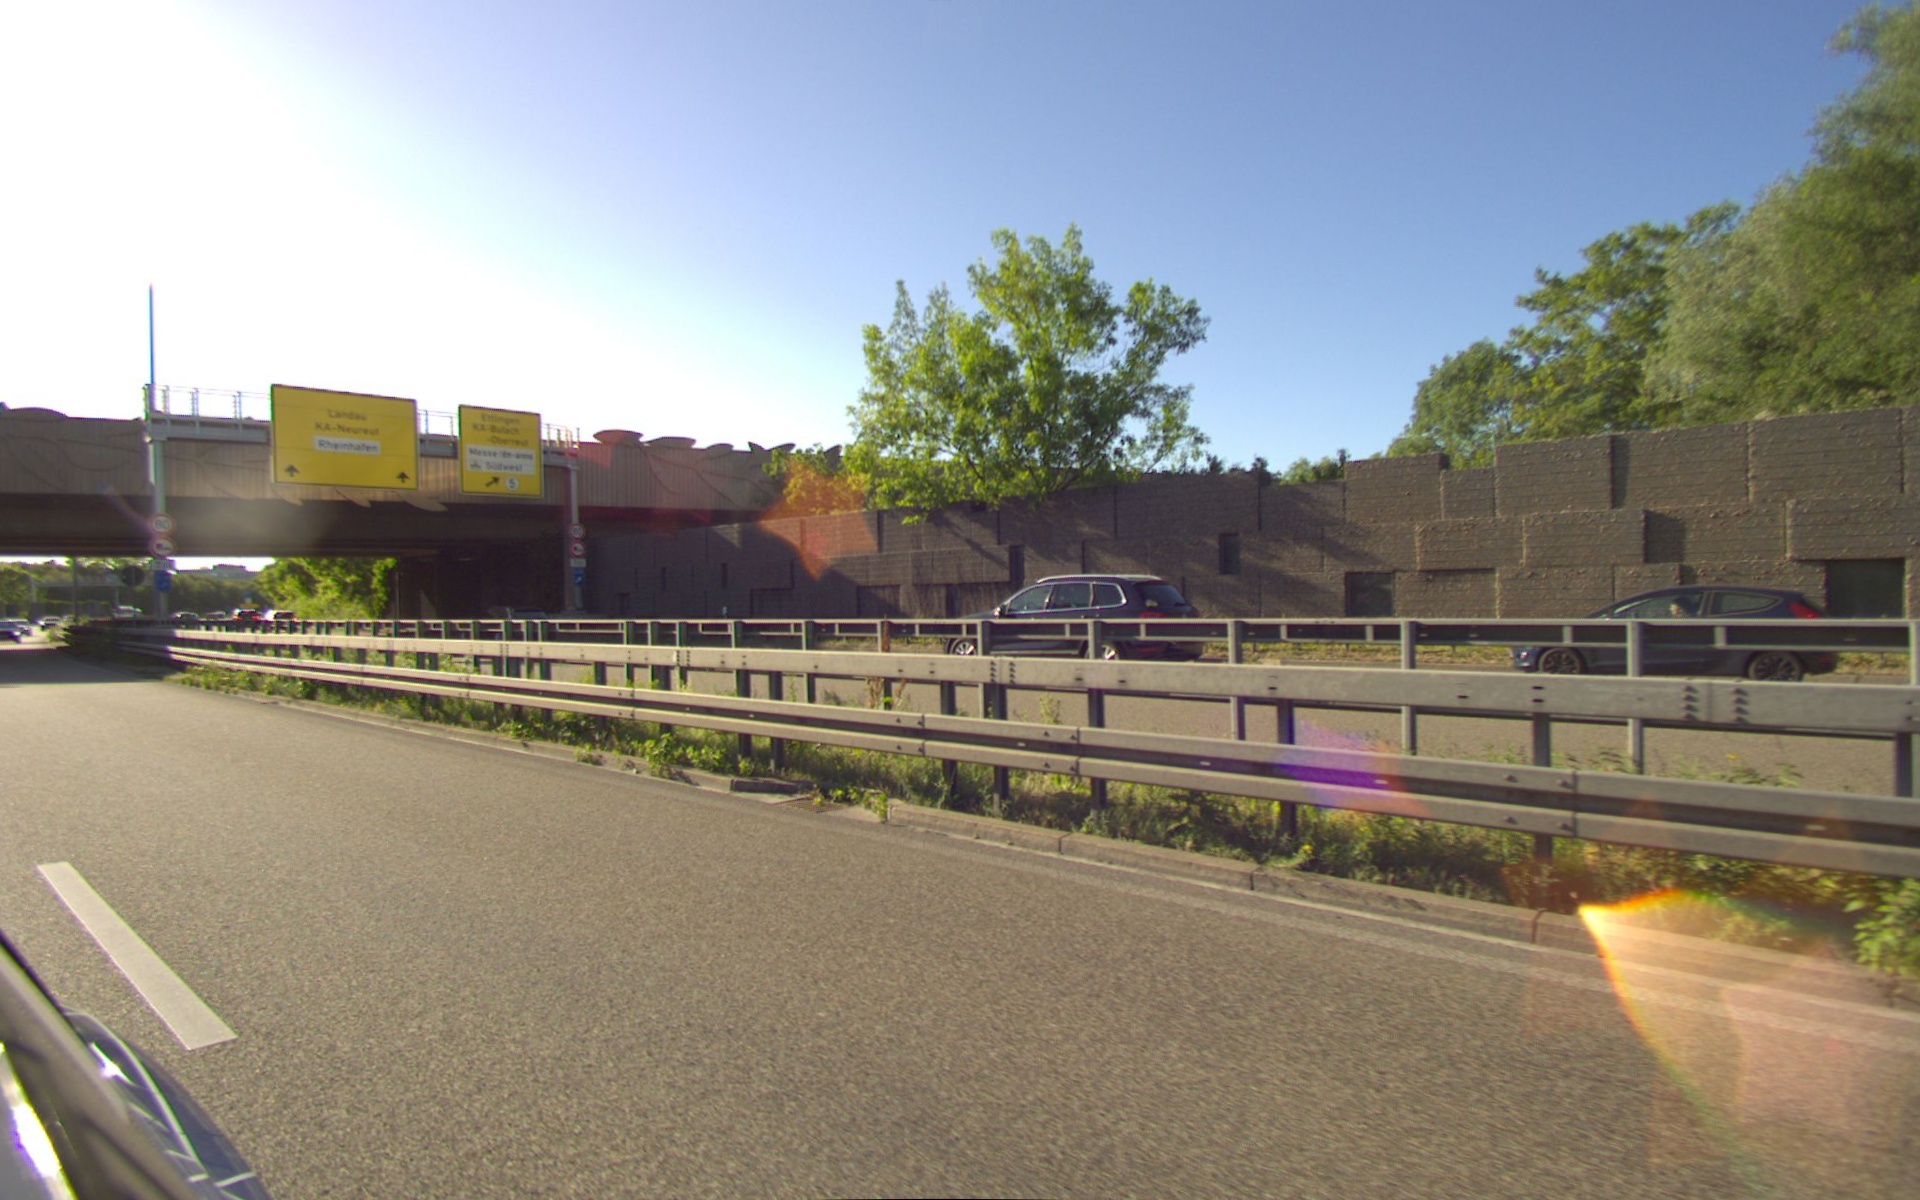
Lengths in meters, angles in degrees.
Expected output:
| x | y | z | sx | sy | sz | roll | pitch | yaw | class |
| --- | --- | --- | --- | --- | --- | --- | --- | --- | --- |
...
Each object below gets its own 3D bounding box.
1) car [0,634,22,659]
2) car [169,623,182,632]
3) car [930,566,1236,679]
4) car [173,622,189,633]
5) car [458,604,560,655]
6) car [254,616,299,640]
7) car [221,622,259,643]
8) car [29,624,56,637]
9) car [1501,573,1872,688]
| x | y | z | sx | sy | sz | roll | pitch | yaw | class |
| --- | --- | --- | --- | --- | --- | --- | --- | --- | --- |
| -60.509 | 2.931 | 63.713 | 1.969 | 1.425 | 4.837 | -2 | 0 | -41 | car |
| -156.487 | 5.489 | 201.922 | 1.968 | 1.653 | 4.729 | -2 | 0 | -39 | car |
| 1.920 | 0.365 | 16.904 | 4.806 | 1.585 | 1.878 | -2 | 1 | 42 | car |
| -123.516 | 4.299 | 160.426 | 1.968 | 1.653 | 4.729 | -2 | 0 | -39 | car |
| -15.786 | 1.031 | 35.293 | 4.394 | 1.585 | 1.530 | -2 | 1 | 42 | car |
| -50.322 | 2.066 | 74.468 | 1.971 | 1.608 | 4.430 | -2 | 0 | -44 | car |
| -62.368 | 2.820 | 87.623 | 1.970 | 1.719 | 4.564 | 0 | -1 | -44 | car |
| -104.098 | 3.452 | 114.863 | 1.968 | 1.425 | 4.840 | -2 | 0 | -39 | car |
| 10.345 | 0.439 | 14.617 | 4.133 | 1.432 | 1.877 | -2 | -2 | 42 | car |
